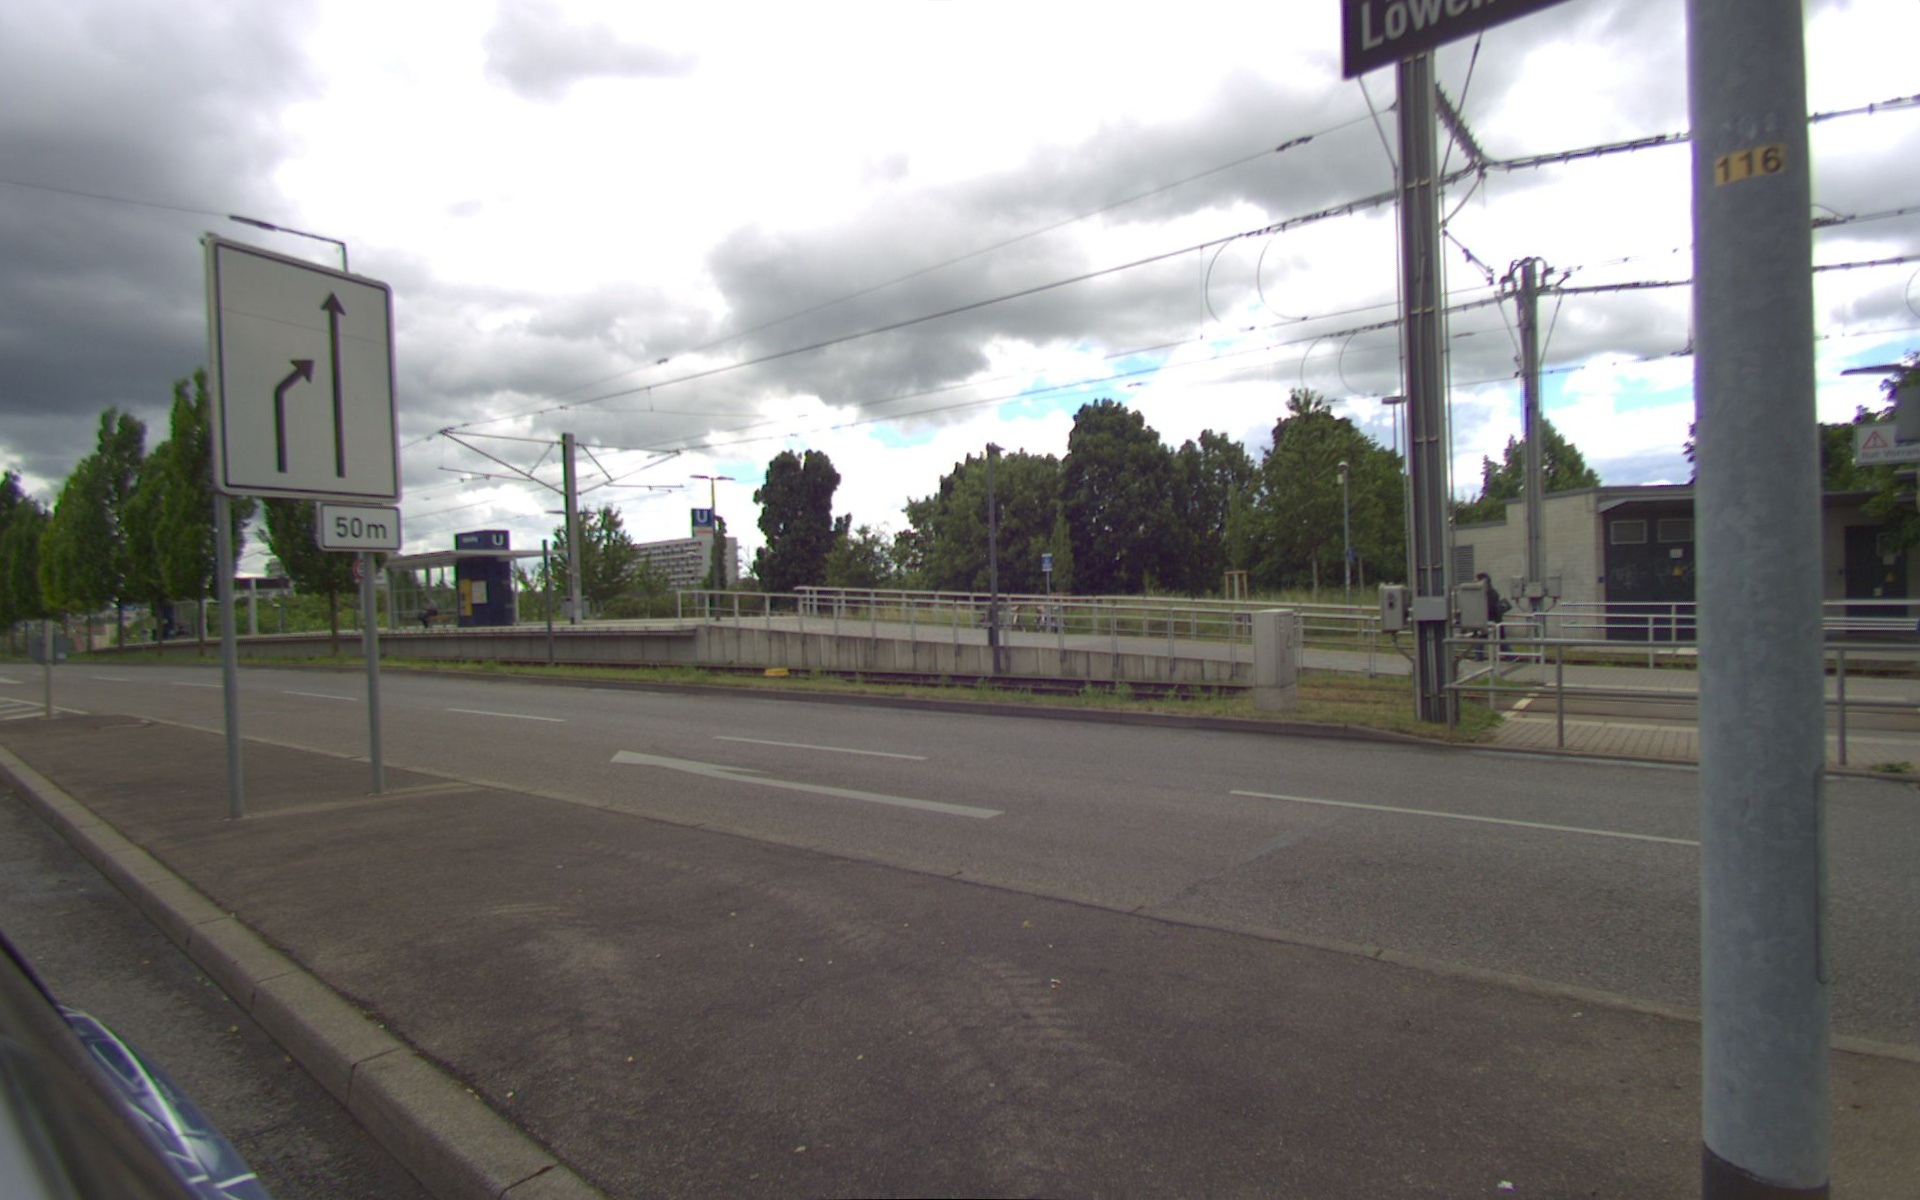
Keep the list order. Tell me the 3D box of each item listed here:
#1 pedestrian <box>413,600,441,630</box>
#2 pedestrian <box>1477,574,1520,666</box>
[{"bbox_3d":[-21.674,0.599,41.162,0.837,1.184,0.741,0,0,40],"label":"pedestrian"},{"bbox_3d":[9.477,0.338,17.807,0.545,1.584,0.557,2,2,40],"label":"pedestrian"}]
